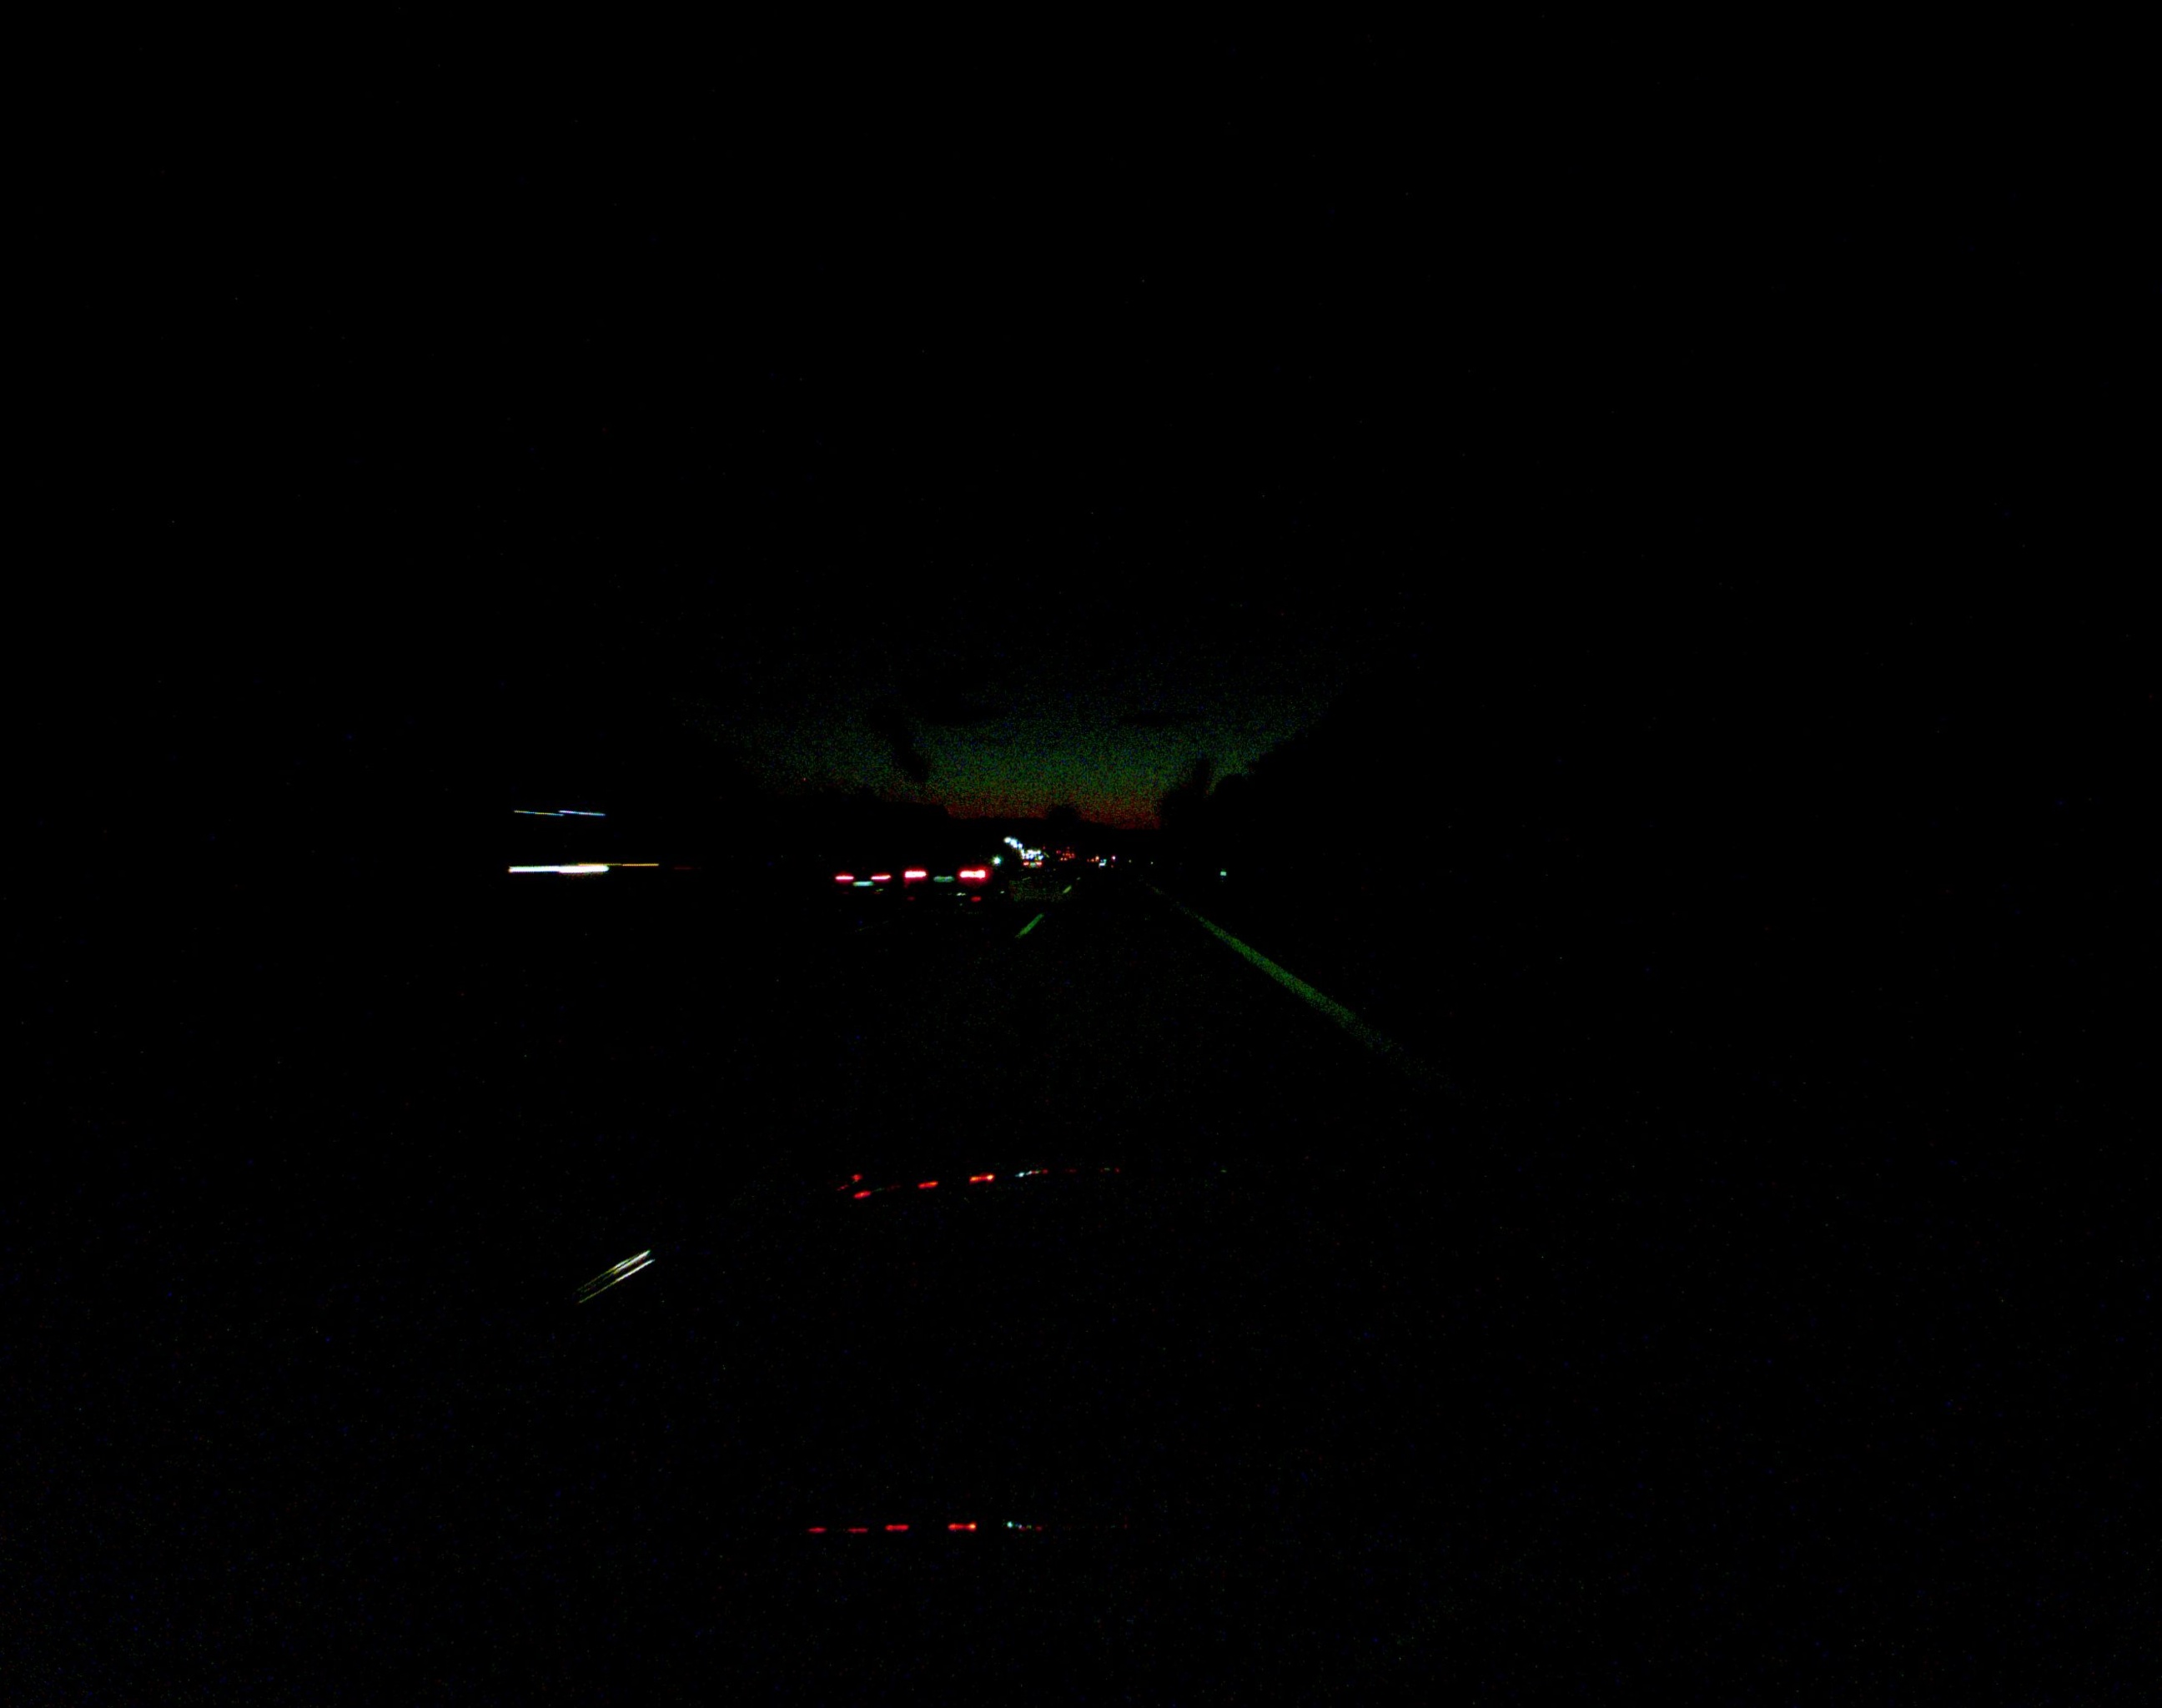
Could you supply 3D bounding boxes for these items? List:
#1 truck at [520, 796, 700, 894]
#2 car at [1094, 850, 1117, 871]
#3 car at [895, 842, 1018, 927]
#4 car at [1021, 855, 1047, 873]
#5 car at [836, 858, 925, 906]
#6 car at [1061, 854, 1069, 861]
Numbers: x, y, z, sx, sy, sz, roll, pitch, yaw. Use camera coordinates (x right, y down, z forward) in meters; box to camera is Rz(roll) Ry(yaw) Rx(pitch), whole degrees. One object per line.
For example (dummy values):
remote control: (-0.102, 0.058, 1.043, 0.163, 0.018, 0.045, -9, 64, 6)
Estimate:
truck: (-20.714, -0.341, 36.692, 2.509, 3.851, 9.070, 0, 0, 3)
car: (2.495, 0.629, 82.293, 2.188, 1.955, 4.766, -1, 1, 2)
car: (-2.857, 0.661, 20.123, 1.987, 1.721, 5.942, -2, 0, 1)
car: (-4.402, 0.934, 76.978, 1.772, 1.486, 5.257, 2, 1, 3)
car: (-6.578, 0.858, 27.325, 1.544, 1.431, 5.514, -1, 0, 0)
car: (-4.944, 1.020, 248.229, 2.188, 1.955, 4.637, 2, 1, 3)
